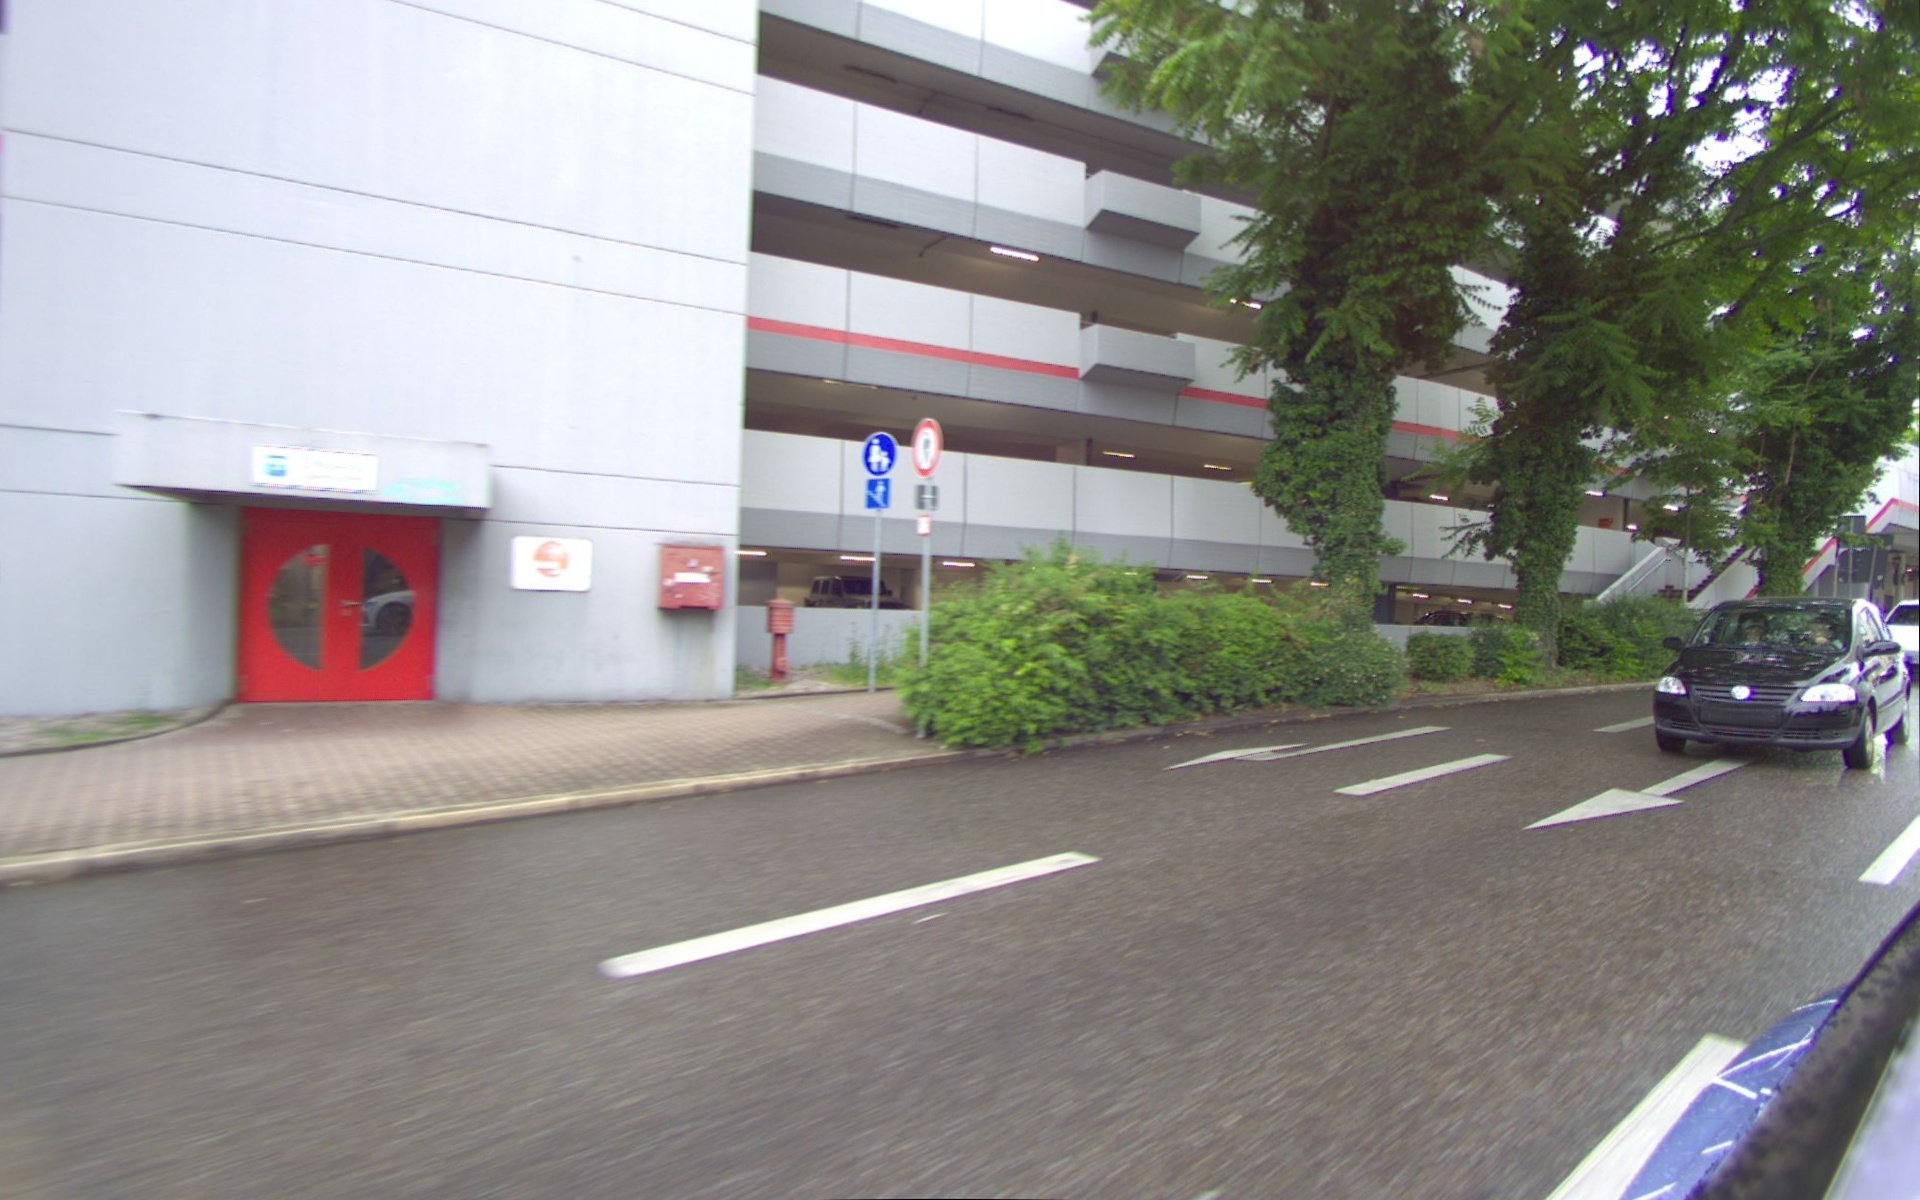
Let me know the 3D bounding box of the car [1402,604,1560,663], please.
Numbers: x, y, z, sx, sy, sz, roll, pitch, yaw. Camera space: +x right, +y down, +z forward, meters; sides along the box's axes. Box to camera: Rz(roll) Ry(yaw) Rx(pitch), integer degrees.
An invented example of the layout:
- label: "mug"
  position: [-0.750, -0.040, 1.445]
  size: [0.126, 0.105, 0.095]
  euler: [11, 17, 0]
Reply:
- label: "car"
  position: [15.373, 0.952, 30.002]
  size: [1.775, 1.560, 3.746]
  euler: [4, -2, -34]

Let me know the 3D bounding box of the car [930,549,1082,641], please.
- label: "car"
  position: [0.899, -0.127, 21.728]
  size: [1.779, 1.805, 3.472]
  euler: [0, 1, -27]

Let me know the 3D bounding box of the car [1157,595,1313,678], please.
- label: "car"
  position: [6.574, 0.805, 24.532]
  size: [1.779, 1.805, 3.472]
  euler: [0, 1, -27]

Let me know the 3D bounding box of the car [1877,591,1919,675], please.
- label: "car"
  position: [19.135, 0.582, 19.346]
  size: [3.967, 1.470, 1.913]
  euler: [-2, 0, -41]

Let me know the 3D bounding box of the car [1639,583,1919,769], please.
- label: "car"
  position: [8.563, 0.641, 10.341]
  size: [3.919, 1.545, 1.682]
  euler: [0, -1, -40]

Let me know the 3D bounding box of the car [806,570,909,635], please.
- label: "car"
  position: [-3.182, 0.031, 30.715]
  size: [1.779, 1.805, 4.006]
  euler: [0, 1, -27]
